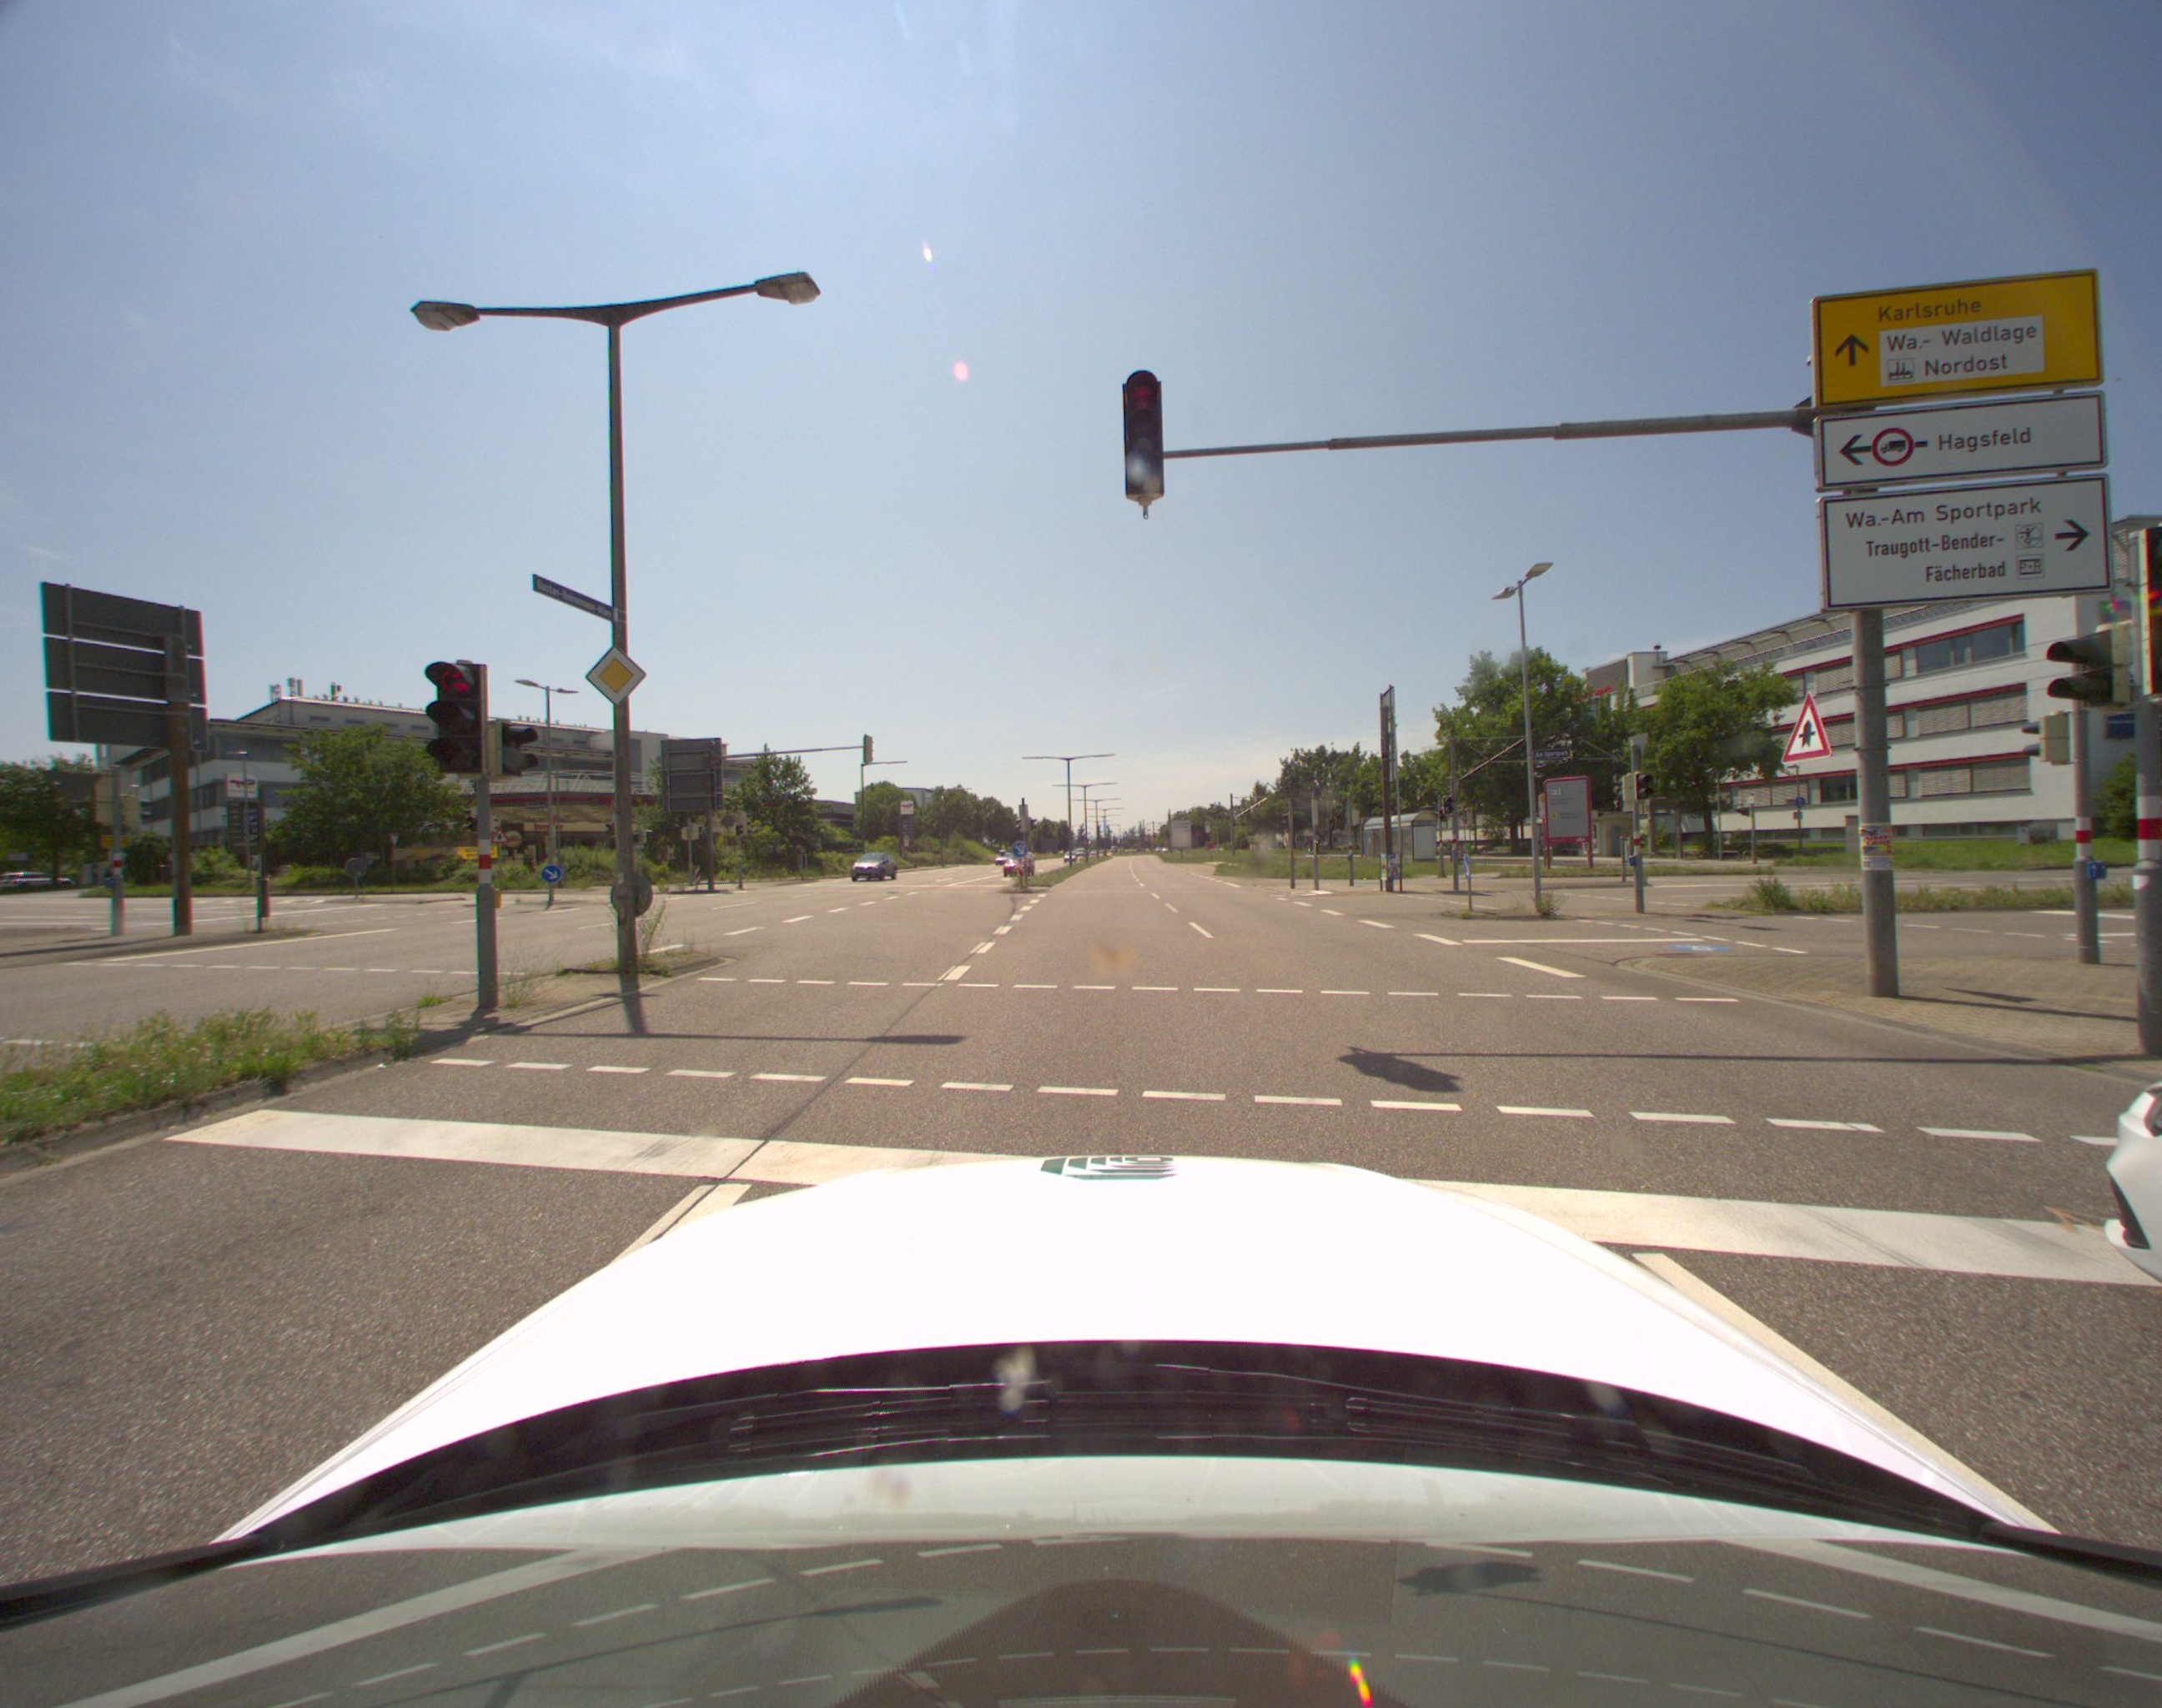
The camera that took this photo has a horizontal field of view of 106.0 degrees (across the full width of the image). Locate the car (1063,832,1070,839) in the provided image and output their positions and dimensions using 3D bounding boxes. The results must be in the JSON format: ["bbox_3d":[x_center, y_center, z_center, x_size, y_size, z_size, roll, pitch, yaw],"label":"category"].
[{"bbox_3d":[-4.445,-5.790,250.208,1.988,2.014,3.997,0,-1,-1],"label":"car"}]

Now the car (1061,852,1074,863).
[{"bbox_3d":[-1.776,0.433,108.981,1.555,1.423,3.855,-1,1,1],"label":"car"}]

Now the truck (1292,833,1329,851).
[{"bbox_3d":[41.529,-2.207,147.551,5.831,2.843,2.316,-3,0,-5],"label":"truck"}]

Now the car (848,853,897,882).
[{"bbox_3d":[-11.797,0.722,46.312,1.652,1.539,4.001,-1,0,1],"label":"car"}]

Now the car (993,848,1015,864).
[{"bbox_3d":[-8.918,0.233,94.402,1.958,1.750,5.023,-2,0,1],"label":"car"}]

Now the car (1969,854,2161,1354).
[{"bbox_3d":[3.868,0.699,0.549,1.677,1.389,4.450,-1,0,0],"label":"car"}]

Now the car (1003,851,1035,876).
[{"bbox_3d":[-3.938,0.589,52.574,1.652,1.490,4.001,-2,0,1],"label":"car"}]

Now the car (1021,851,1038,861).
[{"bbox_3d":[-7.806,0.277,123.140,1.813,1.449,3.836,-1,0,7],"label":"car"}]
